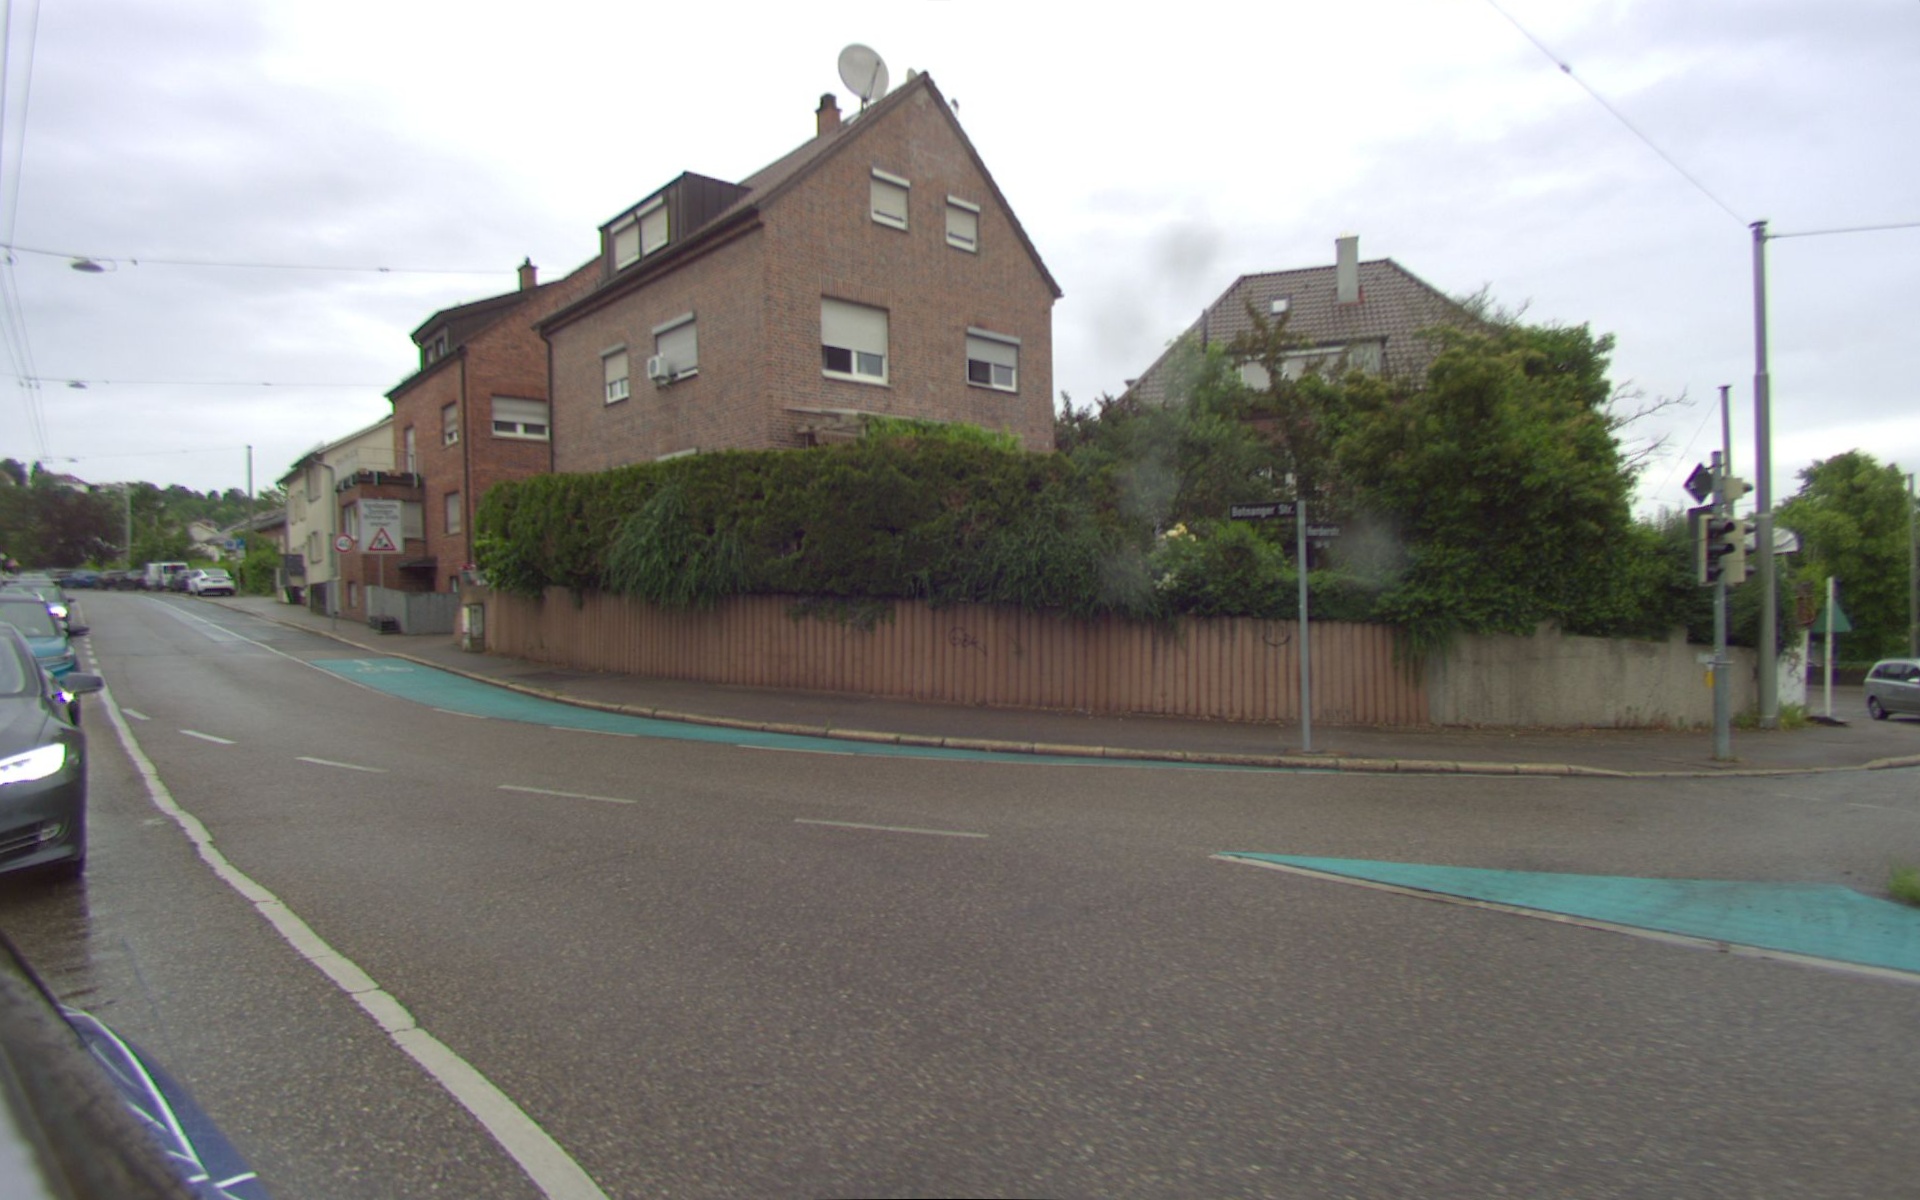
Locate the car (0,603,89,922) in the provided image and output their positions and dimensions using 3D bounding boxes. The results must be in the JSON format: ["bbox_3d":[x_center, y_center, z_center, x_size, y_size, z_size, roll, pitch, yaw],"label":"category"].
[{"bbox_3d":[-6.213,0.752,5.540,4.325,1.402,1.810,-1,0,44],"label":"car"}]

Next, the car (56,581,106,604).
[{"bbox_3d":[-70.659,-0.610,81.315,4.308,1.772,1.755,-1,0,31],"label":"car"}]

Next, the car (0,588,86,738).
[{"bbox_3d":[-12.045,0.715,12.277,4.042,1.622,1.776,-1,0,43],"label":"car"}]

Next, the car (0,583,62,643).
[{"bbox_3d":[-27.625,0.383,29.618,4.043,1.662,1.734,-1,-1,45],"label":"car"}]

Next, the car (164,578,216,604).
[{"bbox_3d":[-50.954,-0.584,66.937,4.448,1.622,1.924,-1,0,41],"label":"car"}]

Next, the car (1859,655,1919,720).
[{"bbox_3d":[24.724,2.173,25.170,1.701,1.597,4.435,-1,-4,16],"label":"car"}]

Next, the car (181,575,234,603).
[{"bbox_3d":[-46.287,-0.654,62.223,4.452,1.622,1.923,-1,0,44],"label":"car"}]

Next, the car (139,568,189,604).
[{"bbox_3d":[-56.508,-0.966,71.853,4.448,2.475,1.985,-1,0,41],"label":"car"}]

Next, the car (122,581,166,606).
[{"bbox_3d":[-60.831,-0.497,75.417,4.321,1.772,1.749,-1,0,41],"label":"car"}]

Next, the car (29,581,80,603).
[{"bbox_3d":[-74.971,-0.653,83.798,4.304,1.772,1.756,-1,0,28],"label":"car"}]

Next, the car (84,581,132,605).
[{"bbox_3d":[-66.079,-0.561,78.477,4.312,1.772,1.753,-1,0,34],"label":"car"}]
